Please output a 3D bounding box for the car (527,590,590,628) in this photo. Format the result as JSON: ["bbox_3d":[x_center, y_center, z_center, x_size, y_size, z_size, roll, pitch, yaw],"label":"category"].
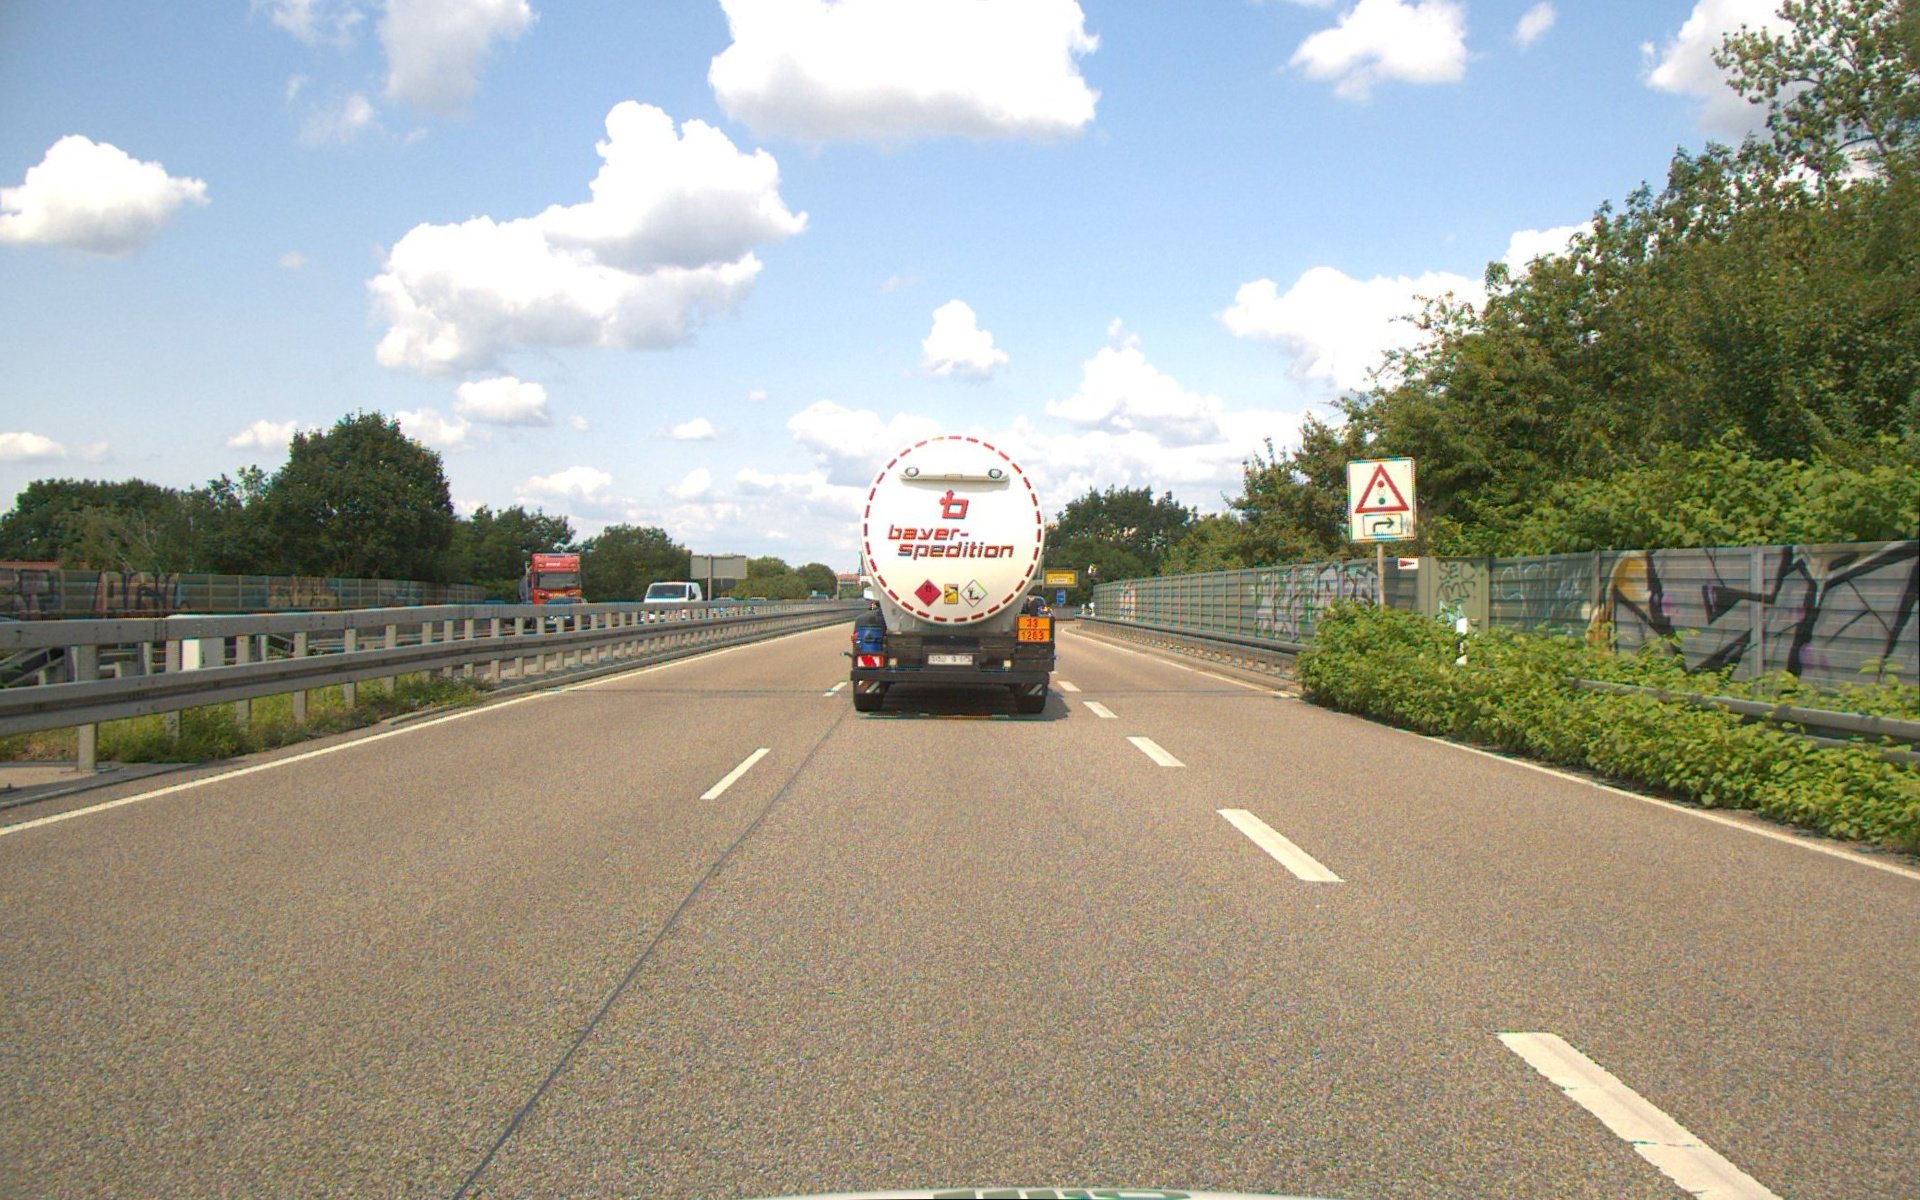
[{"bbox_3d":[-16.273,0.361,67.175,1.655,1.456,4.400,2,0,-3],"label":"car"}]

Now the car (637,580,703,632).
[{"bbox_3d":[-11.948,0.254,68.484,2.038,2.024,5.226,2,0,-3],"label":"car"}]

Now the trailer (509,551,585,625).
[{"bbox_3d":[-22.863,-0.653,91.092,2.646,3.734,10.958,2,0,-21],"label":"trailer"}]

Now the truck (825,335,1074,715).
[{"bbox_3d":[-0.170,-0.872,23.667,2.836,4.445,8.028,2,0,-1],"label":"truck"}]

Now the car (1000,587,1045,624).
[{"bbox_3d":[3.032,0.273,80.615,1.953,1.736,3.999,2,0,-1],"label":"car"}]

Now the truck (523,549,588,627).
[{"bbox_3d":[-21.074,-0.617,85.955,2.609,3.848,6.196,2,0,-20],"label":"truck"}]

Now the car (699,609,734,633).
[{"bbox_3d":[-16.035,1.357,109.194,1.746,1.535,3.959,2,0,-1],"label":"car"}]

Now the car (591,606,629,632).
[{"bbox_3d":[-22.915,1.216,108.444,1.680,1.648,4.279,-1,0,-2],"label":"car"}]
